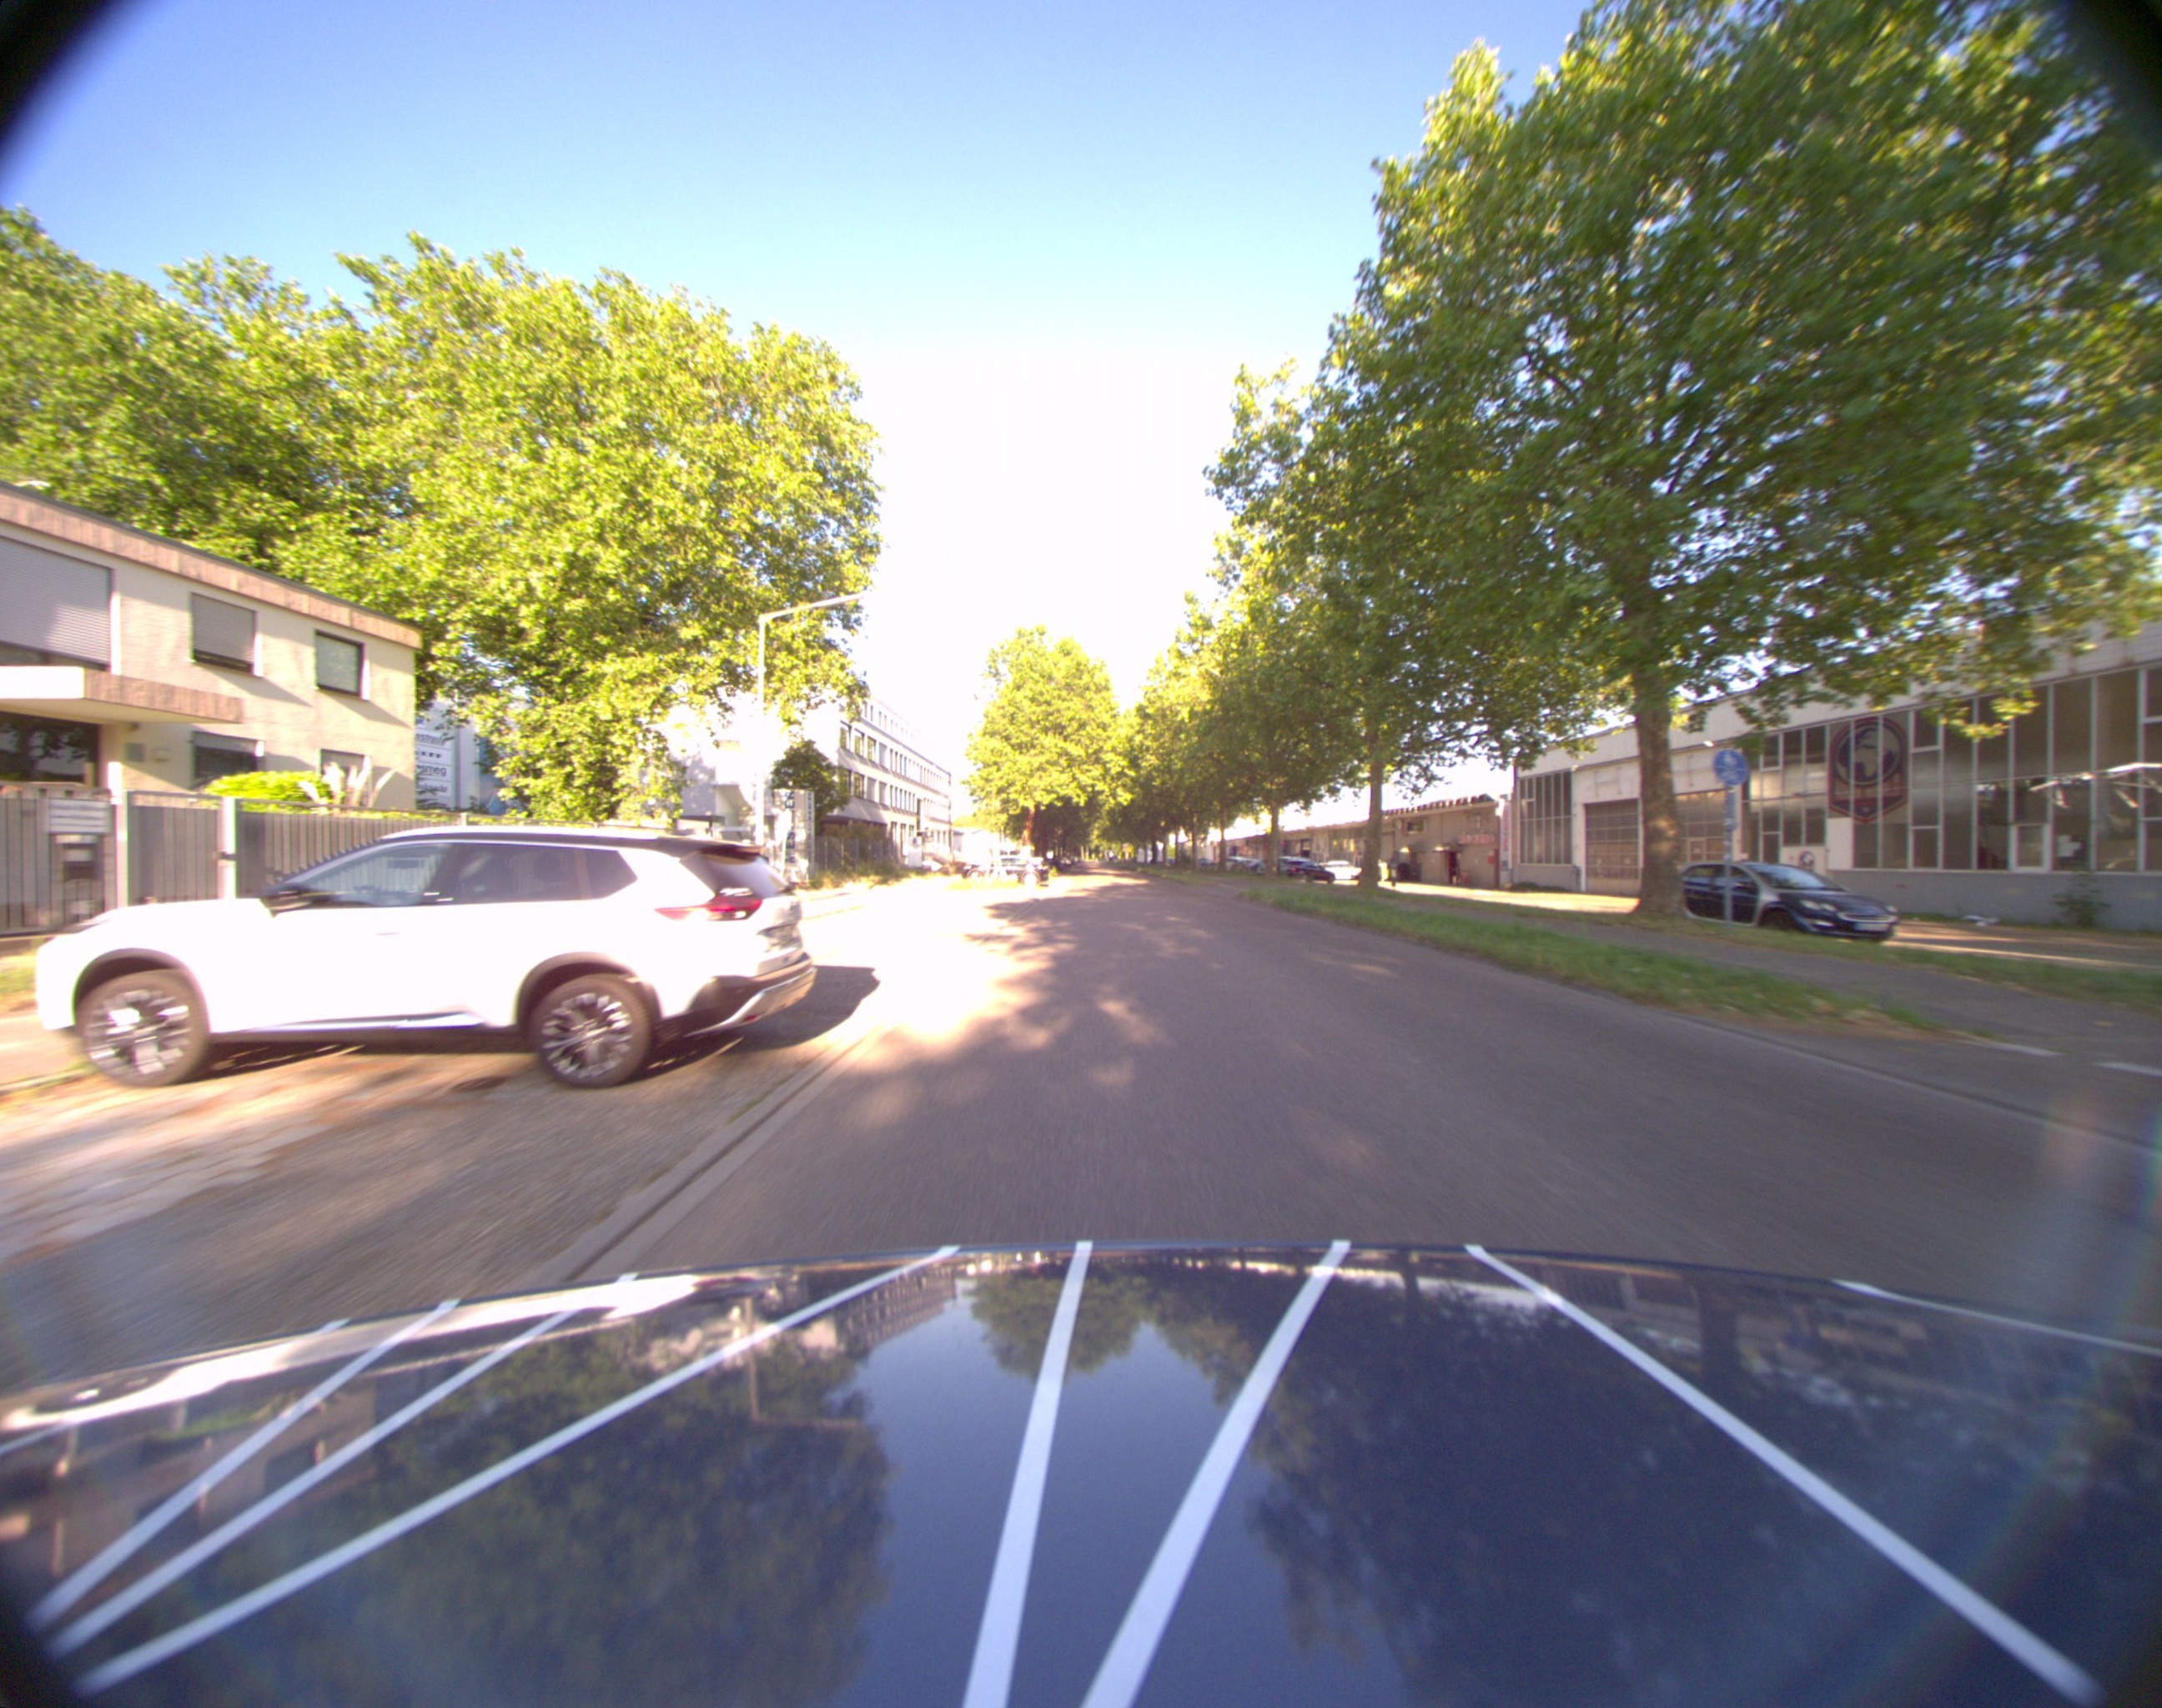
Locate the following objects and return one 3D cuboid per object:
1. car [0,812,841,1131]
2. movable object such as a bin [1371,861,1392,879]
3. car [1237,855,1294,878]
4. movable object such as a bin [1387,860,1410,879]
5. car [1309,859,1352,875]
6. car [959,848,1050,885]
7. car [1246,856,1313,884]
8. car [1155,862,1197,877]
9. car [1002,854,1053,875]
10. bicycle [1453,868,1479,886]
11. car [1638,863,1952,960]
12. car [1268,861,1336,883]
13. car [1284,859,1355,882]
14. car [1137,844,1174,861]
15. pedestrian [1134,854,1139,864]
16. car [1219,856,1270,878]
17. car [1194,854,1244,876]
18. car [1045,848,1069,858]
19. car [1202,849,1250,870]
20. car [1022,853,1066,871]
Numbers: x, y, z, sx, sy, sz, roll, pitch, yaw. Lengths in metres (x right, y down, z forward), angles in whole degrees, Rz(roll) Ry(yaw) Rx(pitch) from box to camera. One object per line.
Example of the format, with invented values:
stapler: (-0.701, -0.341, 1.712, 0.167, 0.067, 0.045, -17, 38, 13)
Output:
car: (-4.434, 0.710, 5.583, 4.637, 1.702, 1.999, 3, 1, -1)
movable object such as a bin: (23.918, 1.260, 60.508, 1.059, 1.423, 1.573, -1, 1, -2)
car: (14.240, 0.961, 58.540, 4.270, 1.620, 1.995, -2, 1, -37)
movable object such as a bin: (24.639, 1.224, 59.067, 1.059, 1.423, 1.627, -1, 1, -2)
car: (22.551, 1.198, 68.714, 3.288, 1.398, 1.712, -1, 1, 39)
car: (-3.947, 0.632, 40.010, 4.582, 1.705, 1.942, 3, 1, -3)
car: (13.413, 1.049, 51.316, 4.492, 1.720, 1.995, -2, 1, -37)
car: (11.985, 1.952, 95.986, 4.905, 1.749, 1.996, -1, 1, -23)
car: (-4.166, 0.802, 59.531, 3.794, 1.477, 1.860, 2, 1, -1)
bicycle: (24.913, 1.496, 49.188, 0.537, 1.052, 2.159, -6, 0, 2)
car: (13.029, 0.956, 14.281, 1.999, 1.362, 3.919, 4, 0, -4)
car: (14.053, 1.128, 48.141, 4.494, 1.298, 1.994, 0, 0, -41)
car: (14.370, 0.952, 45.630, 4.494, 1.298, 1.994, 0, 0, -41)
car: (14.940, -0.303, 152.275, 6.972, 2.835, 2.595, 4, -2, -28)
pedestrian: (10.152, 0.949, 138.181, 0.805, 1.763, 0.940, -1, 1, 2)
car: (13.141, 0.994, 60.879, 1.994, 1.620, 4.271, -1, 1, 43)
car: (12.181, 0.950, 67.068, 4.006, 1.740, 1.995, -2, 1, -31)
car: (-4.120, -0.220, 130.546, 3.944, 1.504, 1.666, 2, 1, 0)
car: (12.491, 0.437, 65.418, 1.994, 1.689, 4.271, 0, 1, 44)
car: (-3.732, 0.841, 77.006, 4.295, 1.477, 1.860, 4, 1, -1)
